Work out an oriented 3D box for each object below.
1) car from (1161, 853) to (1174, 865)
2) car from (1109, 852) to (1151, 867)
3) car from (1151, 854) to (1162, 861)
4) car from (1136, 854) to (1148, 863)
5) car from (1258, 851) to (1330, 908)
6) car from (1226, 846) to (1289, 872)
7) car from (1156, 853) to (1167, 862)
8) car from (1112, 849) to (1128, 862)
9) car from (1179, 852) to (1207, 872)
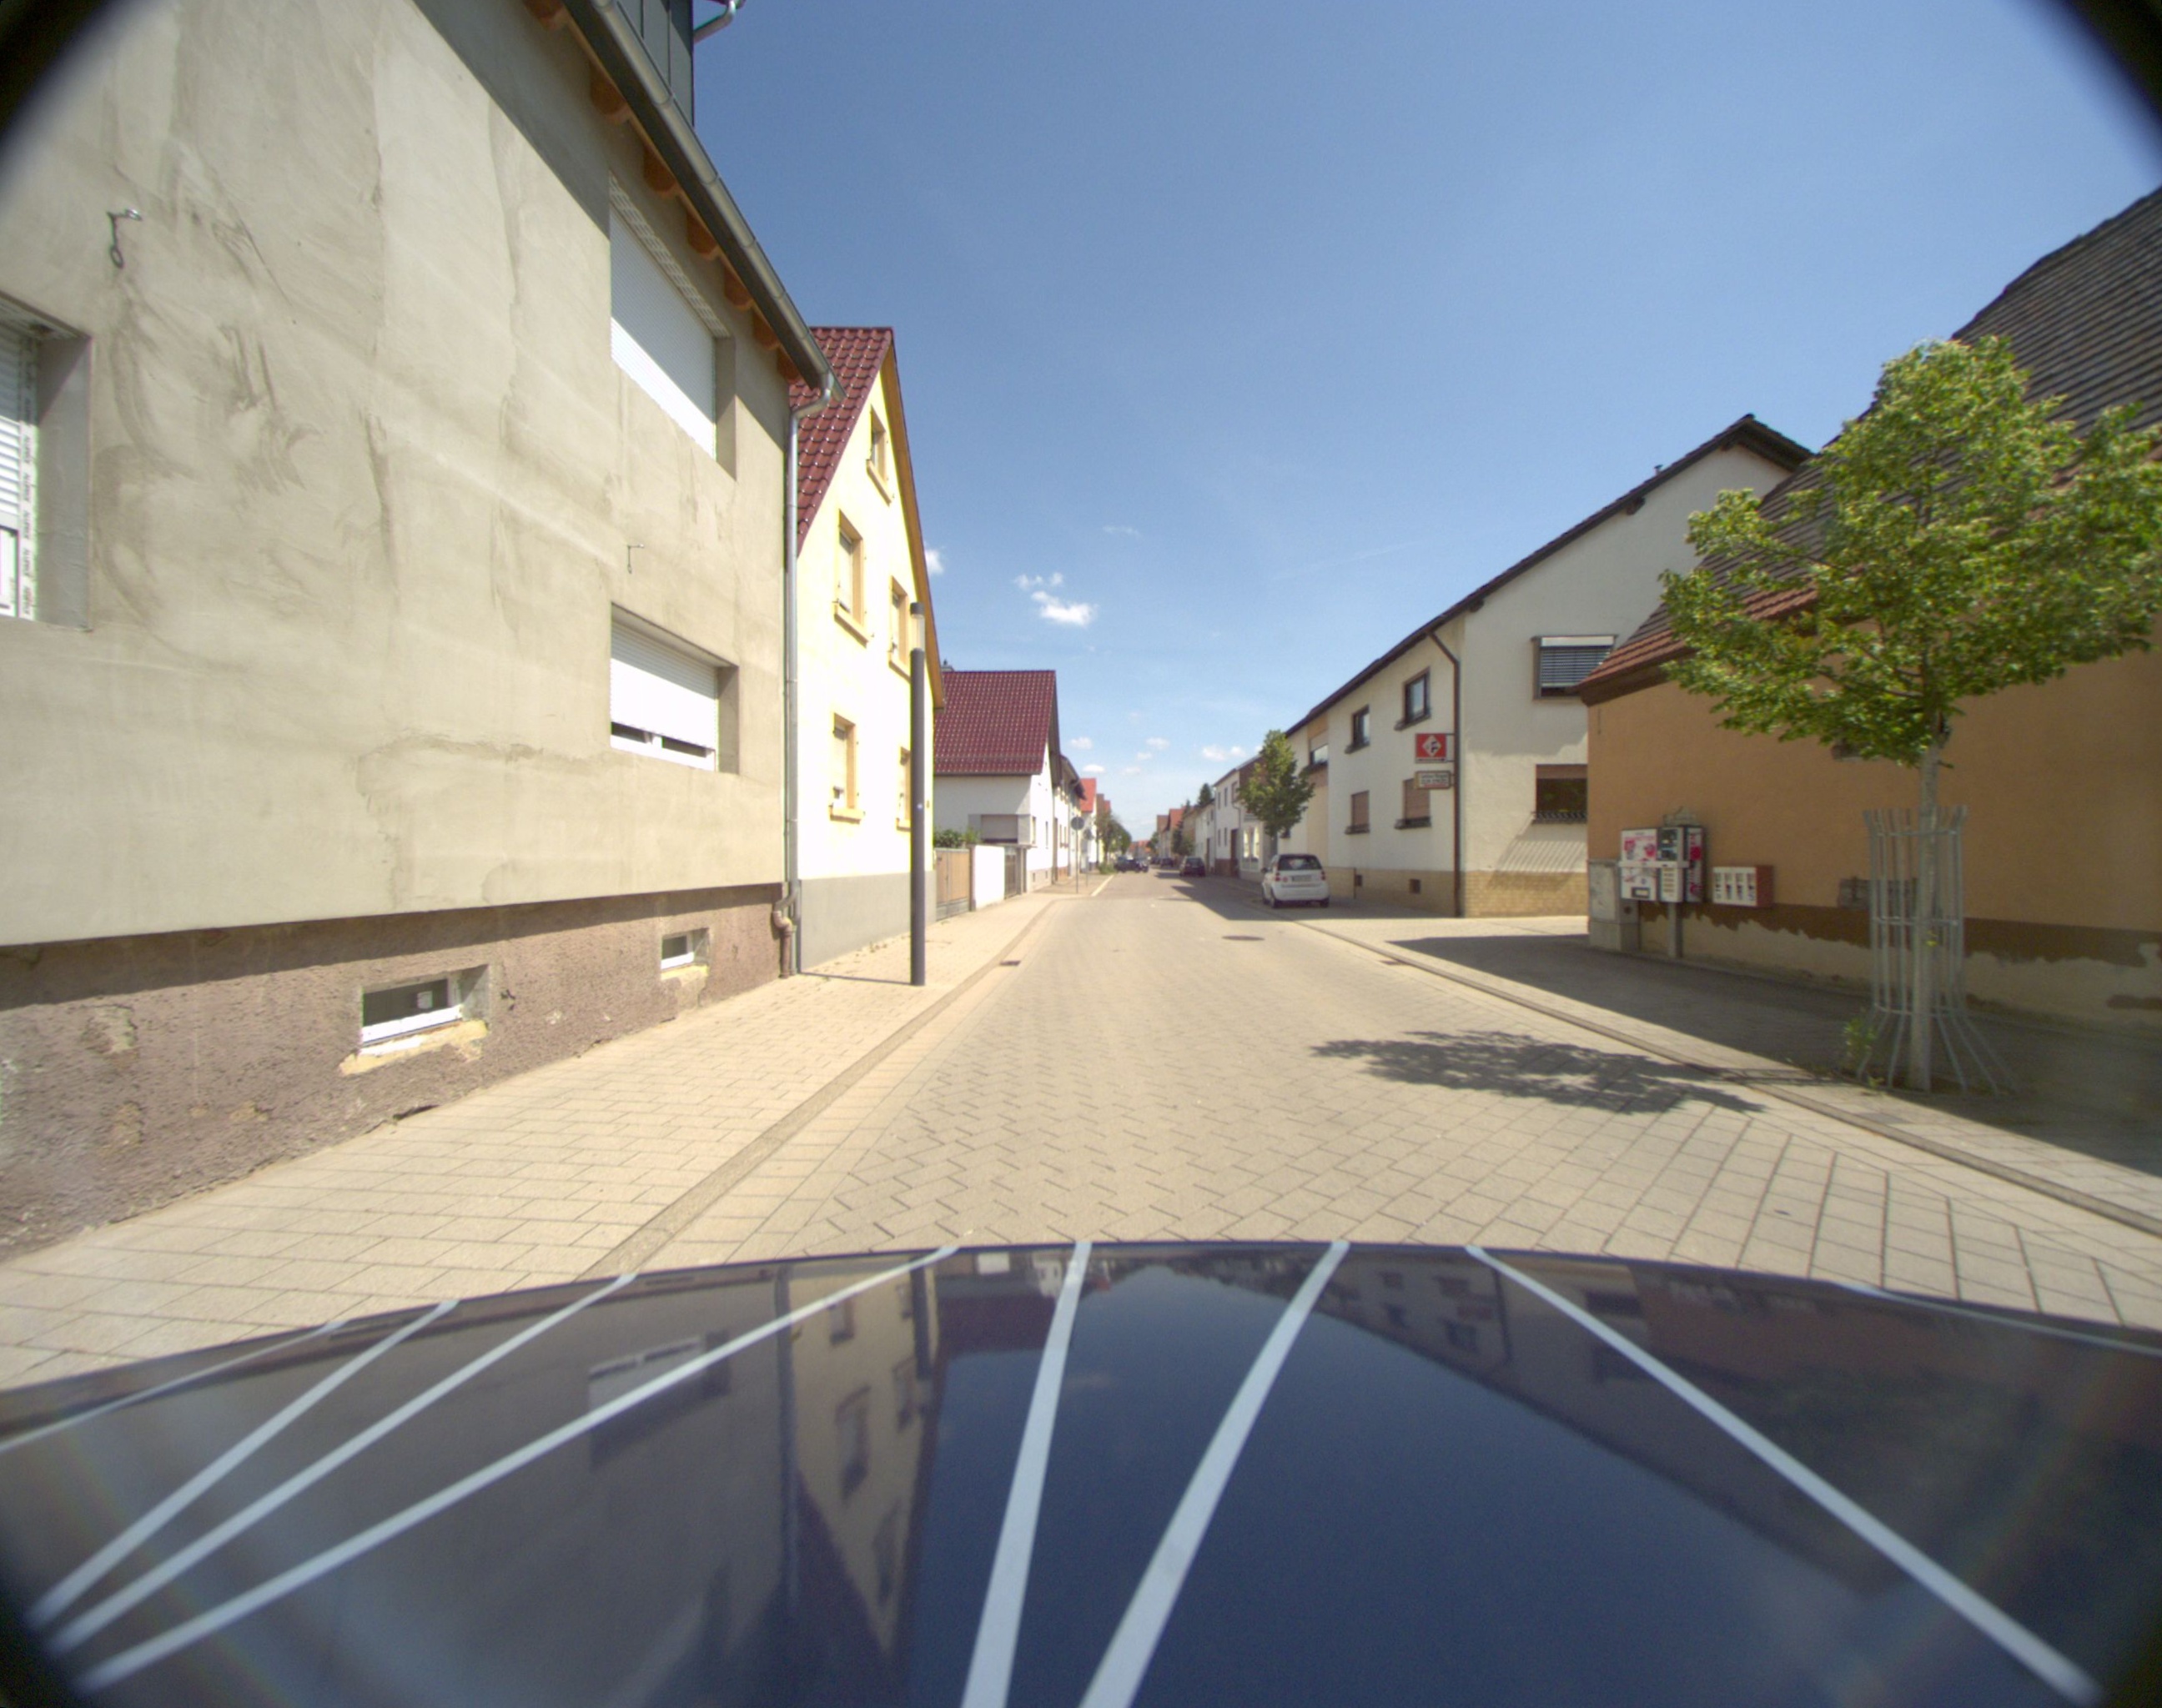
[{"bbox_3d":[13.296,0.765,116.717,1.851,1.688,4.001,0,0,4],"label":"car"},{"bbox_3d":[4.782,0.571,74.472,3.807,1.420,1.731,0,0,37],"label":"car"},{"bbox_3d":[15.423,0.700,155.671,1.998,1.570,4.000,0,0,2],"label":"car"},{"bbox_3d":[10.244,0.744,128.379,1.957,1.521,4.001,1,0,5],"label":"car"},{"bbox_3d":[6.274,0.700,22.668,1.575,1.552,2.823,-2,0,6],"label":"car"},{"bbox_3d":[12.222,0.345,52.888,3.995,1.708,1.815,-2,0,5],"label":"car"},{"bbox_3d":[14.596,0.667,137.953,1.854,1.543,4.000,0,0,2],"label":"car"},{"bbox_3d":[5.190,0.152,100.588,1.998,1.696,4.002,1,0,5],"label":"car"},{"bbox_3d":[8.919,0.604,60.740,1.751,1.557,3.955,0,0,2],"label":"car"}]
